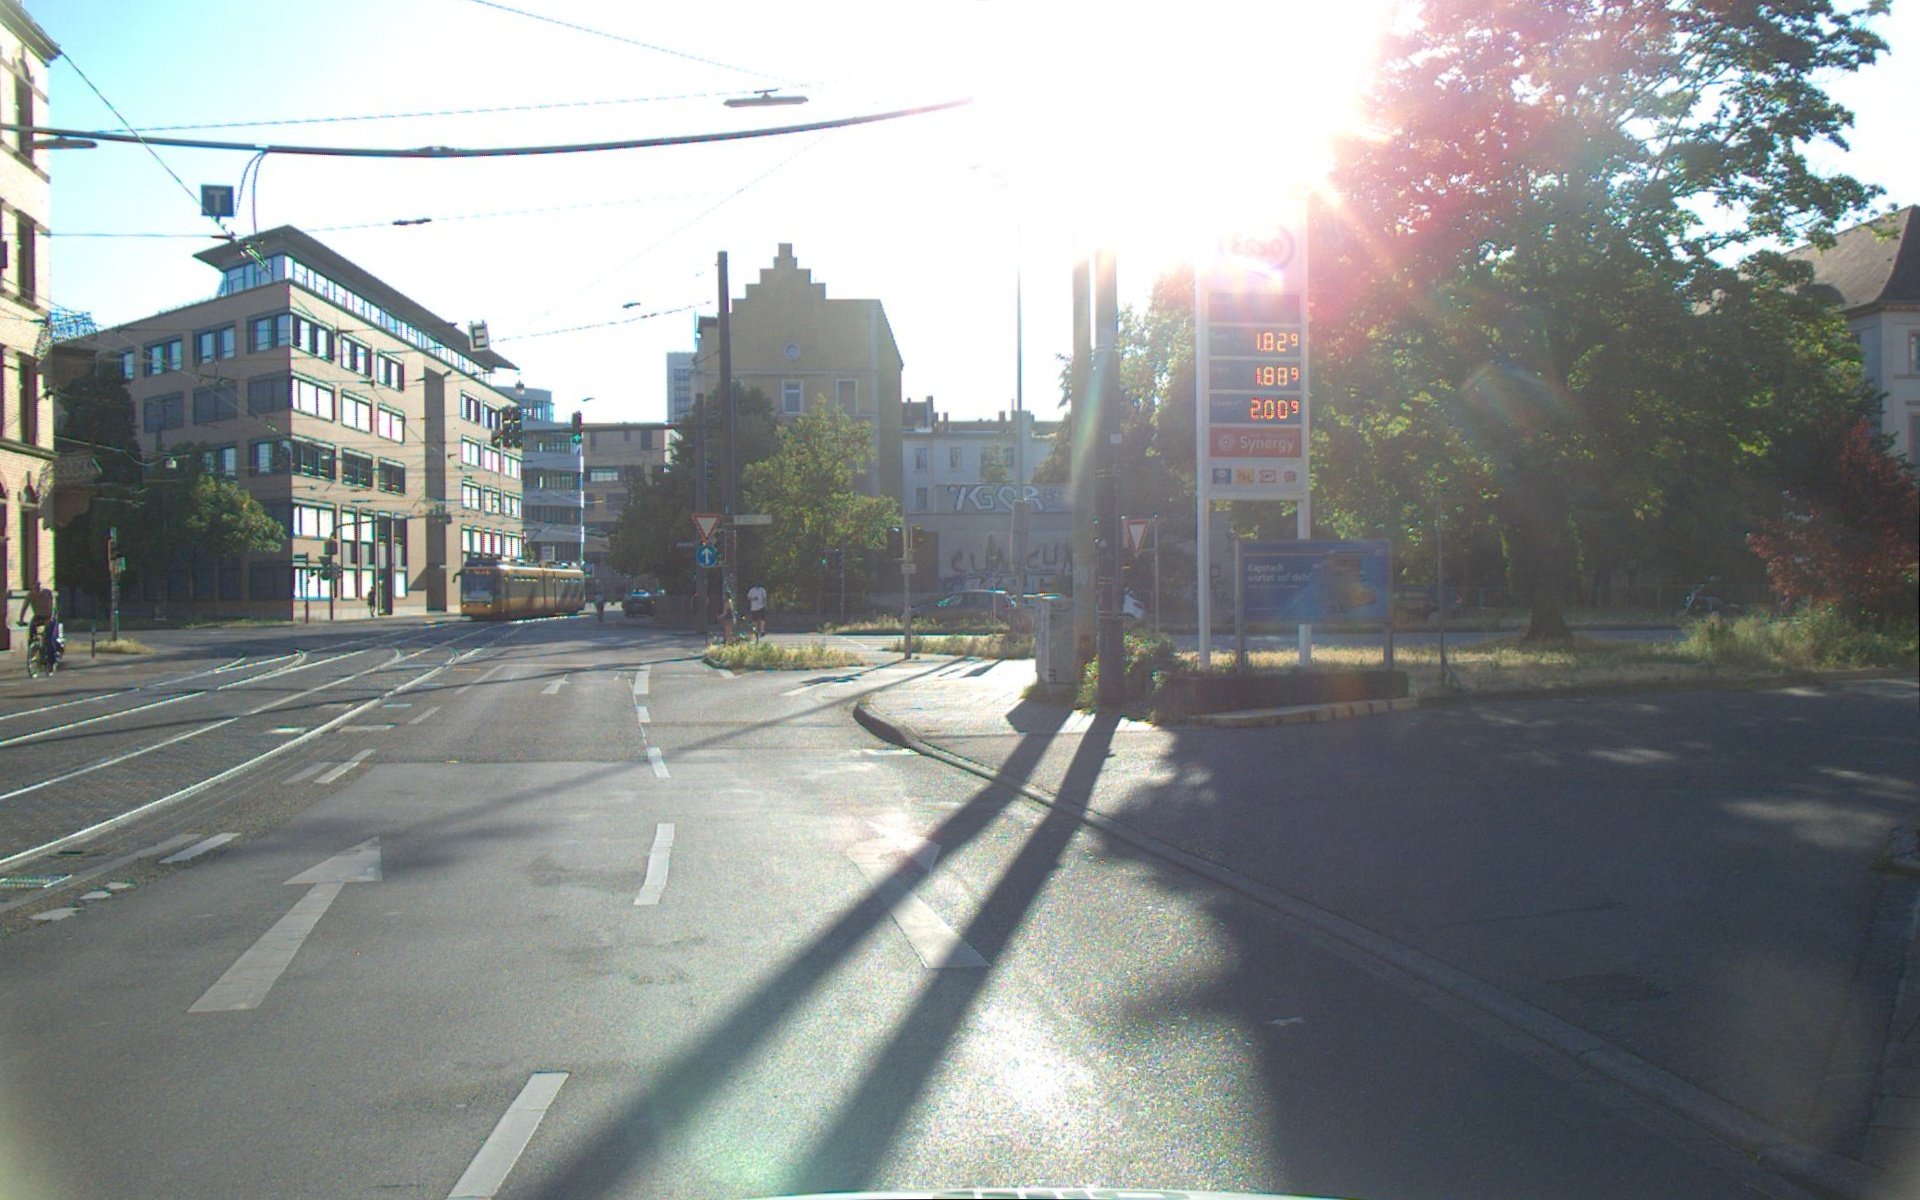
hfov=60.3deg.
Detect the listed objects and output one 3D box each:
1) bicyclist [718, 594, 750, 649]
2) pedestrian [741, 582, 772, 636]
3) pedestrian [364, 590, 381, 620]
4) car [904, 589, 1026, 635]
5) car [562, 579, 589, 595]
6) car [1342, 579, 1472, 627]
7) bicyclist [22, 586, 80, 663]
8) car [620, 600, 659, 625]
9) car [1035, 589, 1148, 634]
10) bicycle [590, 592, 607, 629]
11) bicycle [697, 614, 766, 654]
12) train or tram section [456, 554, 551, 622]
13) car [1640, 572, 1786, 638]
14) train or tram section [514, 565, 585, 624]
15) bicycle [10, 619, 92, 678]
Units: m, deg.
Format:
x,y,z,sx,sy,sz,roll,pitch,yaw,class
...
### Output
x,y,z,sx,sy,sz,roll,pitch,yaw,class
-6.019,0.579,44.073,0.788,1.438,0.623,-1,-1,-7,bicyclist
-6.634,0.292,53.935,0.908,1.721,0.777,-1,0,-4,pedestrian
-36.757,0.295,103.544,0.789,1.874,0.736,-1,0,-2,pedestrian
0.201,0.405,56.905,3.901,1.478,1.811,-1,0,11,car
-35.376,-1.153,152.329,1.759,1.434,3.997,-1,0,-3,car
14.631,0.105,54.262,3.902,1.478,1.688,-1,0,8,car
-18.556,0.498,33.775,0.828,1.540,0.799,-1,0,-13,bicyclist
-20.598,0.786,106.434,1.954,1.489,3.997,-1,0,-4,car
4.766,0.422,59.828,3.902,1.534,1.674,-1,0,10,car
-18.169,0.523,83.206,0.554,1.838,1.358,-1,0,-2,bicycle
-6.087,0.895,44.063,1.798,1.002,0.733,-1,0,-8,bicycle
-26.547,-0.653,96.936,2.196,3.637,14.269,-1,0,-3,train or tram section
24.622,0.162,54.181,3.903,2.049,1.936,-1,0,5,car
-27.108,-0.364,109.663,2.178,3.642,12.202,-1,0,-3,train or tram section
-18.523,0.969,33.755,0.930,1.117,1.992,-1,0,-13,bicycle
